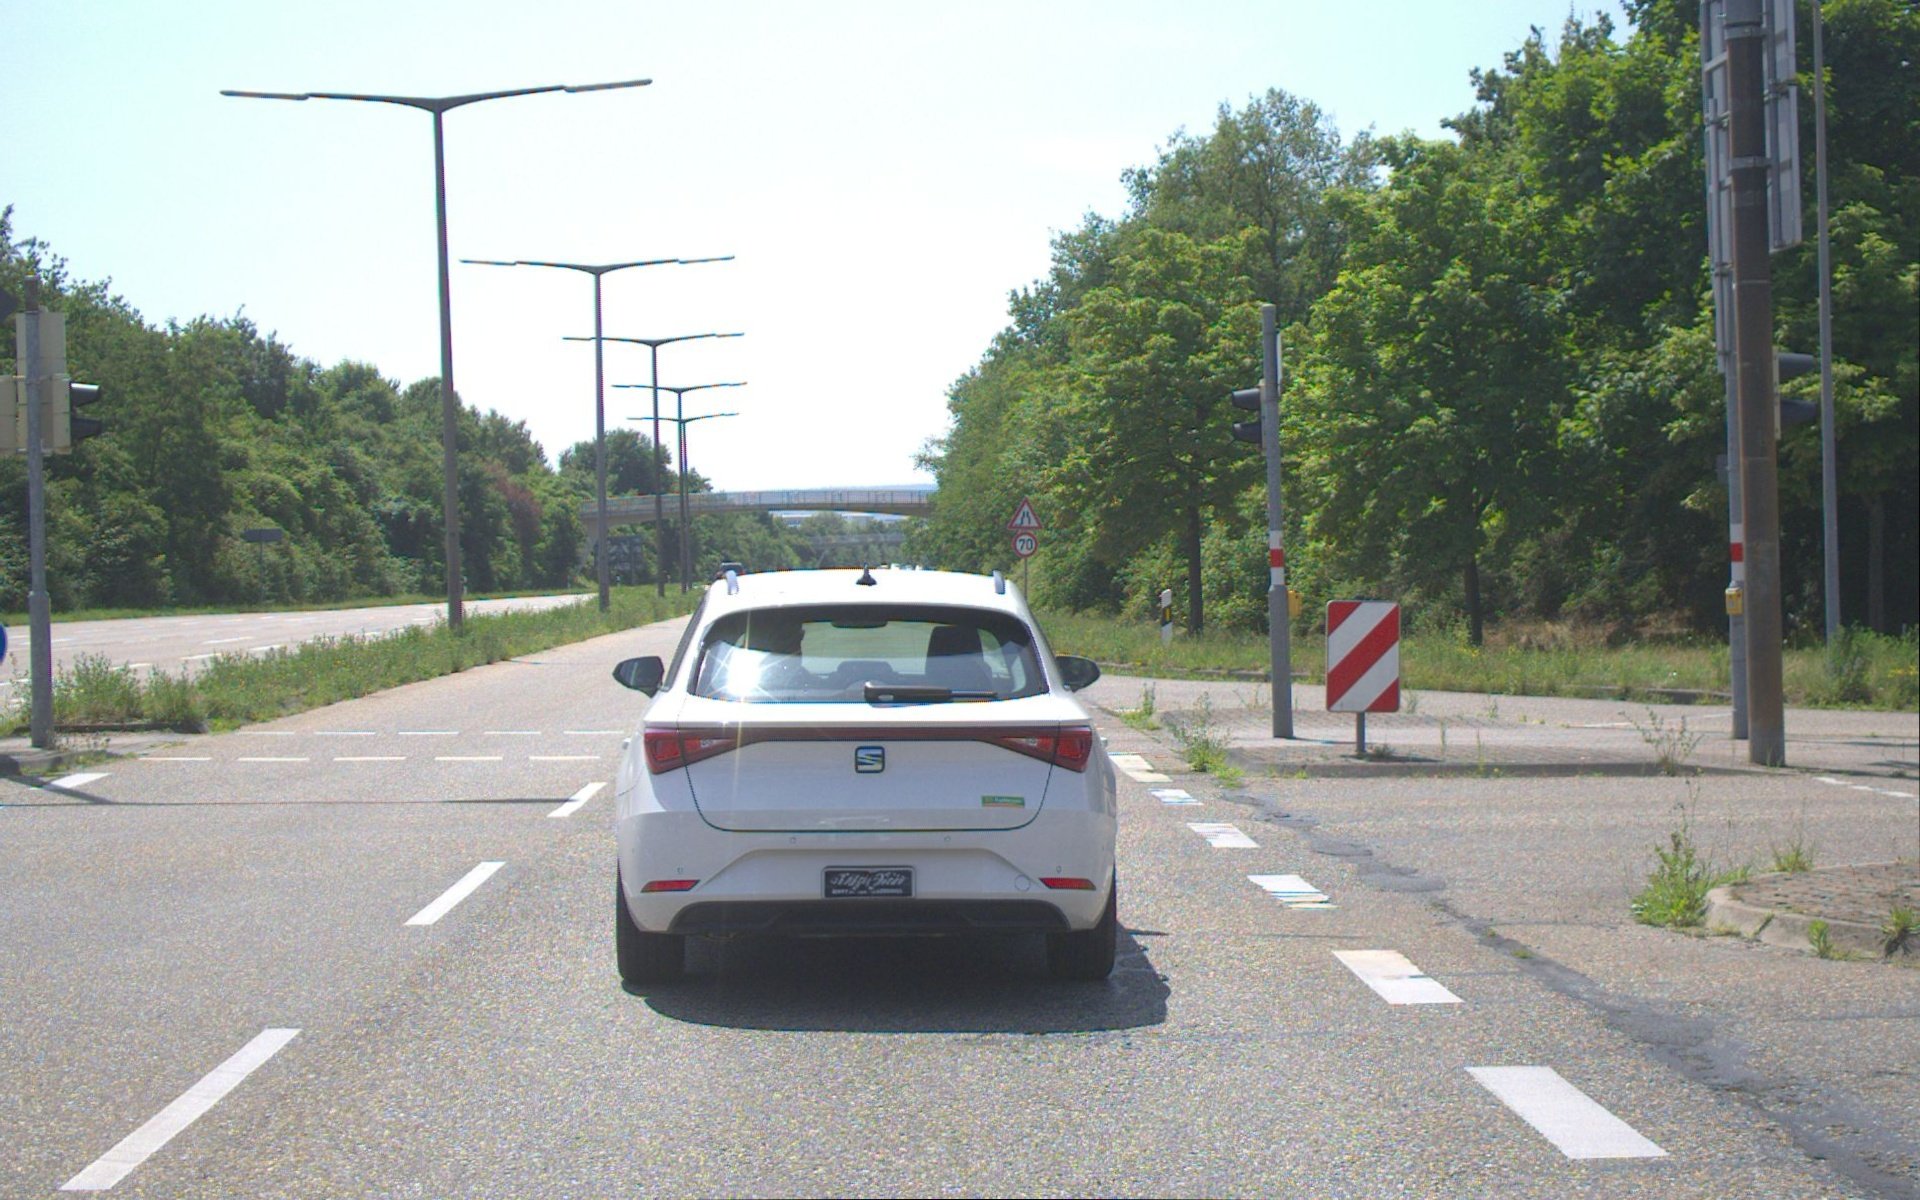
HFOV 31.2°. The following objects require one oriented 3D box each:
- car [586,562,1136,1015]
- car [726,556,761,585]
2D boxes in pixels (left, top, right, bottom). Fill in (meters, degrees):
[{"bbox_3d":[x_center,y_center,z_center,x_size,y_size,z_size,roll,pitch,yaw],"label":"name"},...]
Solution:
[{"bbox_3d":[-0.341,0.600,12.828,1.734,1.424,3.694,1,0,-1],"label":"car"},{"bbox_3d":[-13.363,-1.831,212.364,1.855,1.703,4.000,-1,1,1],"label":"car"}]
